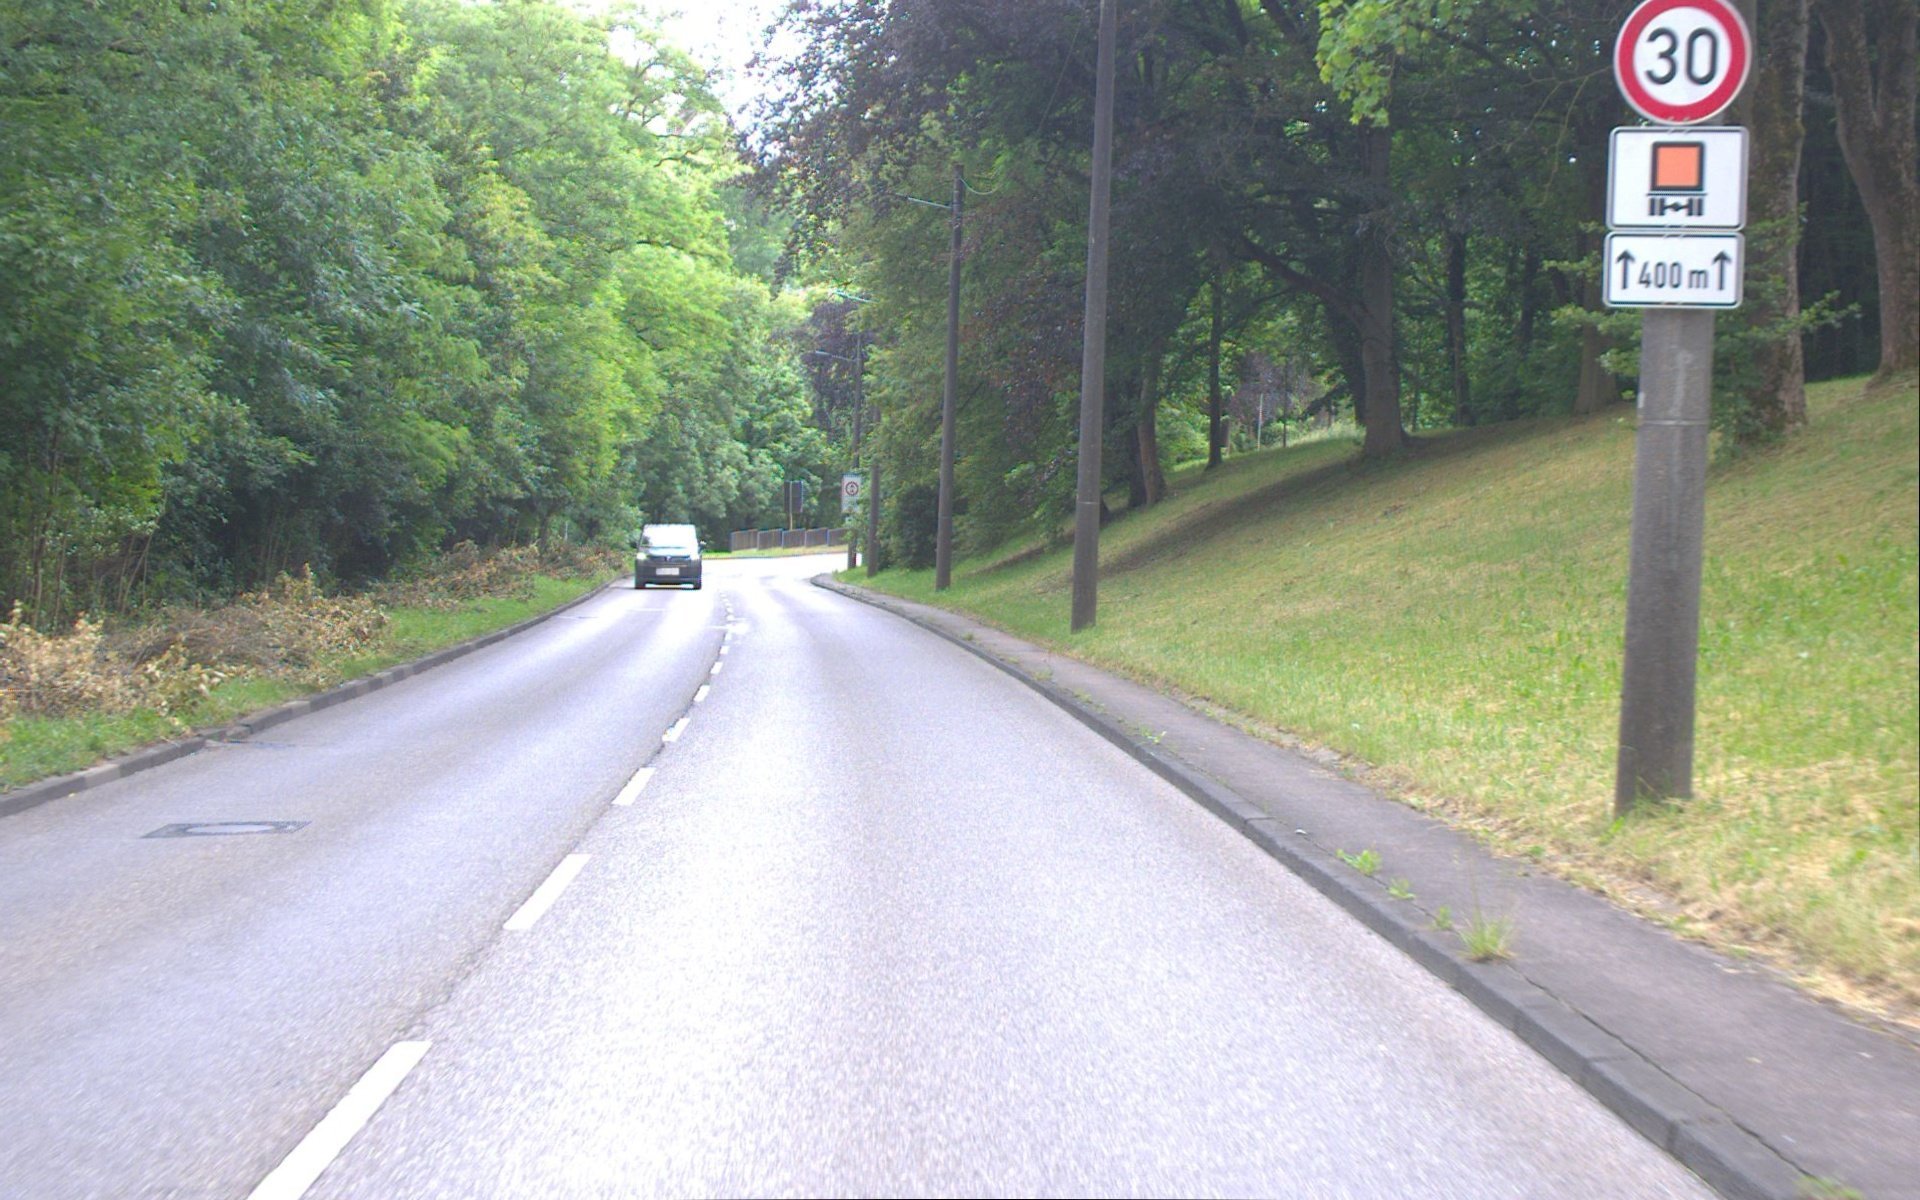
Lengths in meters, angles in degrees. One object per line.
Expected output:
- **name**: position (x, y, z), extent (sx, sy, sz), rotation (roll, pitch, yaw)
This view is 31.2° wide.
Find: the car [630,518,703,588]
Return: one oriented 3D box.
- **car**: position (-8.481, -1.351, 99.670), extent (1.993, 1.941, 4.946), rotation (1, 0, -4)
